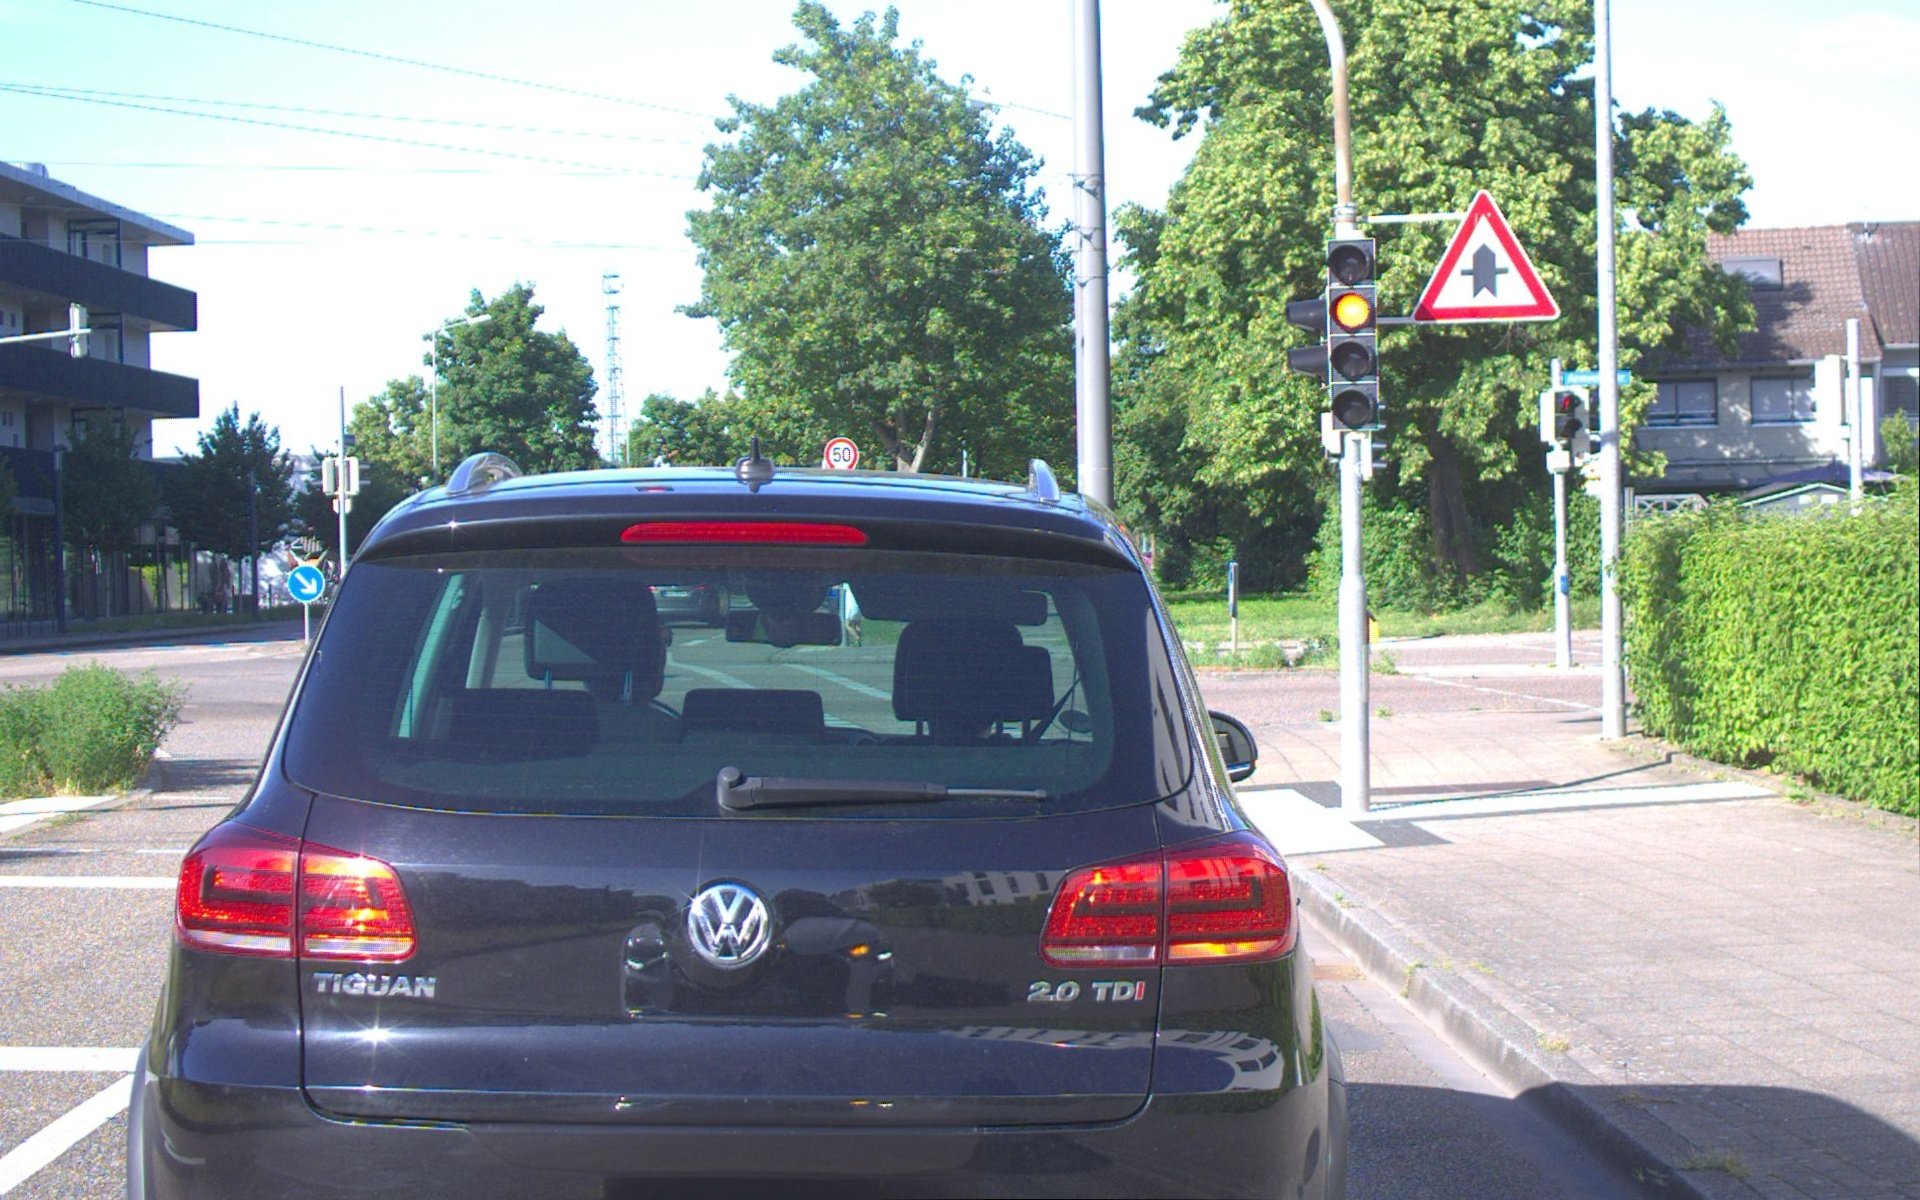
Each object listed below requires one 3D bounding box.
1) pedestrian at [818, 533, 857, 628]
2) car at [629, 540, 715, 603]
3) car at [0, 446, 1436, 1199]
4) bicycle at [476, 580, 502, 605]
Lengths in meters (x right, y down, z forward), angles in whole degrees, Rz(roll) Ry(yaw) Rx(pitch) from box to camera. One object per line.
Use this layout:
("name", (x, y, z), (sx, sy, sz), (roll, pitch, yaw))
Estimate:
("pedestrian", (-2.128, -0.343, 59.732), (0.603, 1.634, 0.529), (0, 1, 4))
("car", (-6.556, -0.673, 78.502), (1.751, 1.382, 4.000), (0, 1, -2))
("car", (-0.398, 0.586, 6.494), (1.905, 1.637, 4.000), (0, 1, -2))
("bicycle", (-16.081, -0.257, 117.432), (0.496, 0.845, 2.078), (0, 1, 3))
